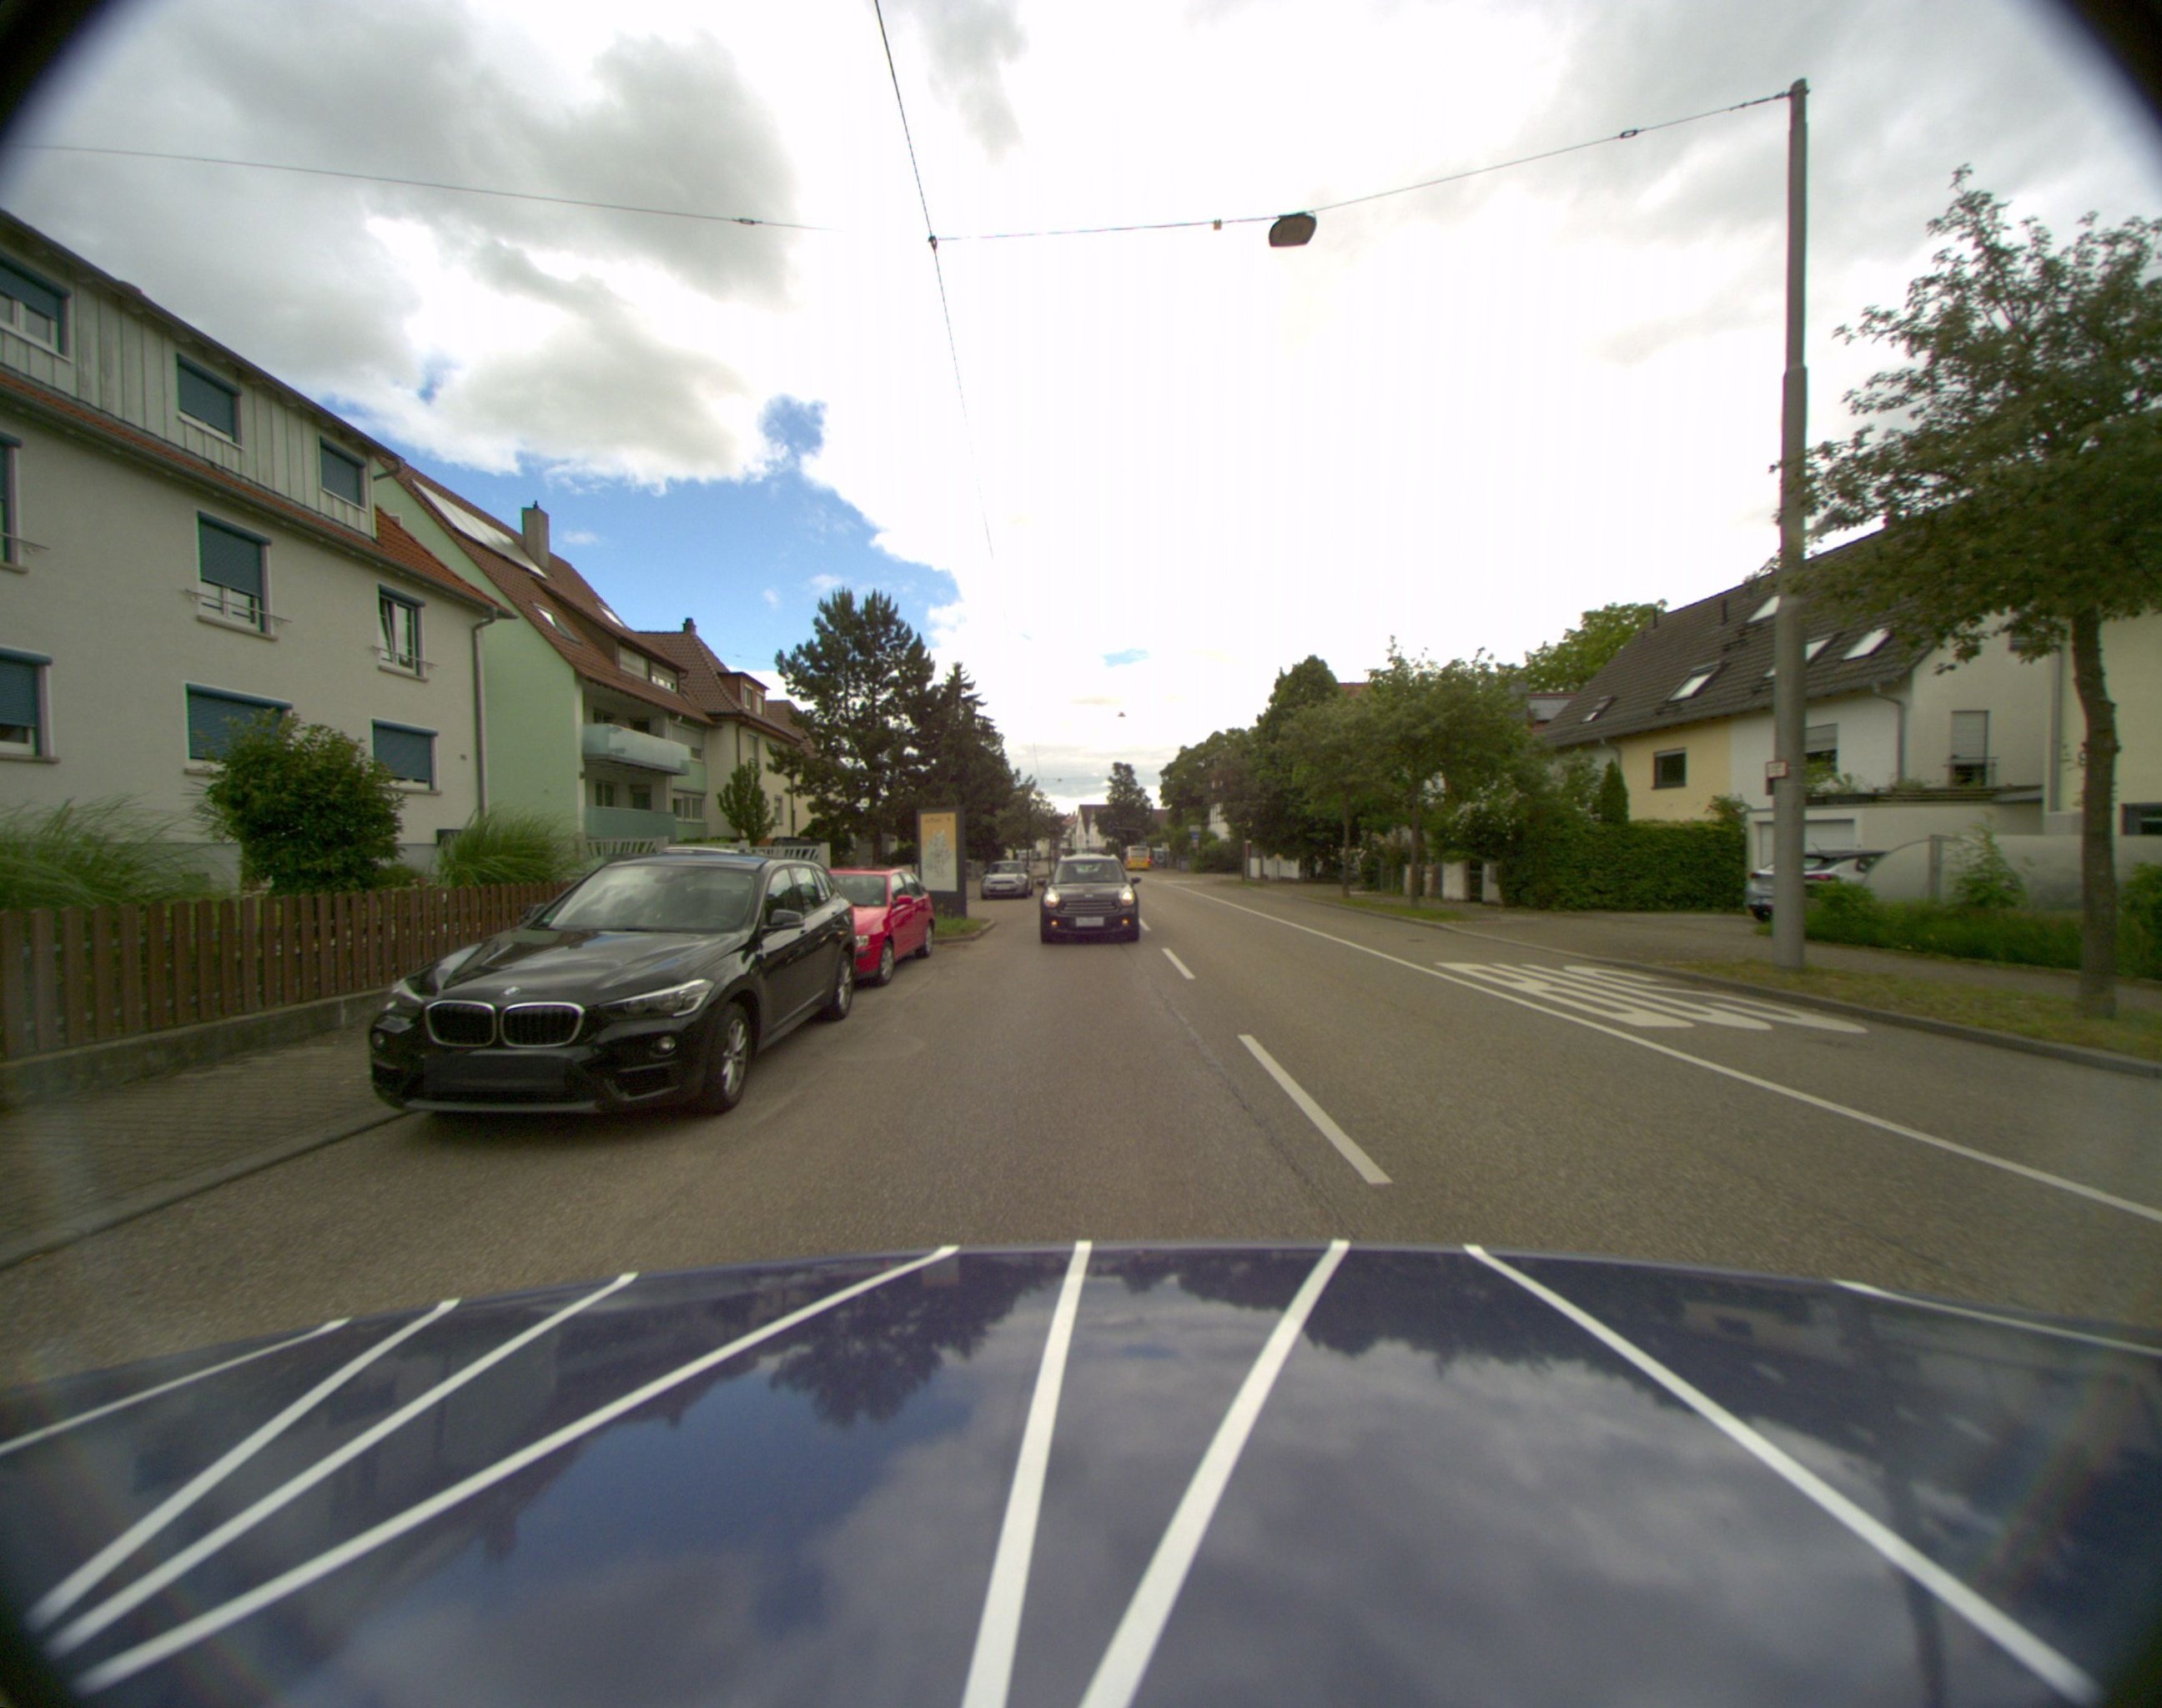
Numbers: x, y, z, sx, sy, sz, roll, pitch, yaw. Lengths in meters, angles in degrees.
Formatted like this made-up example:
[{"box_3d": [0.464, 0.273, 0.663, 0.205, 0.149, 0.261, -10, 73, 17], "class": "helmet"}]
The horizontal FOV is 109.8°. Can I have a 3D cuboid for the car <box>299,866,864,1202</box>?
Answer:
[{"box_3d": [-3.062, 0.934, 5.851, 1.728, 1.582, 4.156, 1, 0, -2], "class": "car"}]

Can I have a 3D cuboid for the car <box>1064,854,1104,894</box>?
[{"box_3d": [0.121, 0.802, 32.401, 1.590, 1.598, 3.684, 0, 0, 0], "class": "car"}]

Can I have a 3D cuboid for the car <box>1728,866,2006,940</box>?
[{"box_3d": [14.627, 0.876, 14.284, 3.561, 1.263, 1.703, 0, 0, -3], "class": "car"}]

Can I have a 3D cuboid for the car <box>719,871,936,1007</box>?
[{"box_3d": [-3.168, 0.986, 10.277, 1.680, 1.414, 3.684, 0, 0, 0], "class": "car"}]

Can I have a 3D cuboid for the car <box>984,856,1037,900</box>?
[{"box_3d": [-2.654, 0.868, 29.228, 1.680, 1.573, 3.684, 0, 0, 0], "class": "car"}]

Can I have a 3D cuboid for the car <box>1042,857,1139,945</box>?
[{"box_3d": [0.174, 0.855, 15.599, 1.744, 1.573, 3.684, 0, 0, 0], "class": "car"}]
